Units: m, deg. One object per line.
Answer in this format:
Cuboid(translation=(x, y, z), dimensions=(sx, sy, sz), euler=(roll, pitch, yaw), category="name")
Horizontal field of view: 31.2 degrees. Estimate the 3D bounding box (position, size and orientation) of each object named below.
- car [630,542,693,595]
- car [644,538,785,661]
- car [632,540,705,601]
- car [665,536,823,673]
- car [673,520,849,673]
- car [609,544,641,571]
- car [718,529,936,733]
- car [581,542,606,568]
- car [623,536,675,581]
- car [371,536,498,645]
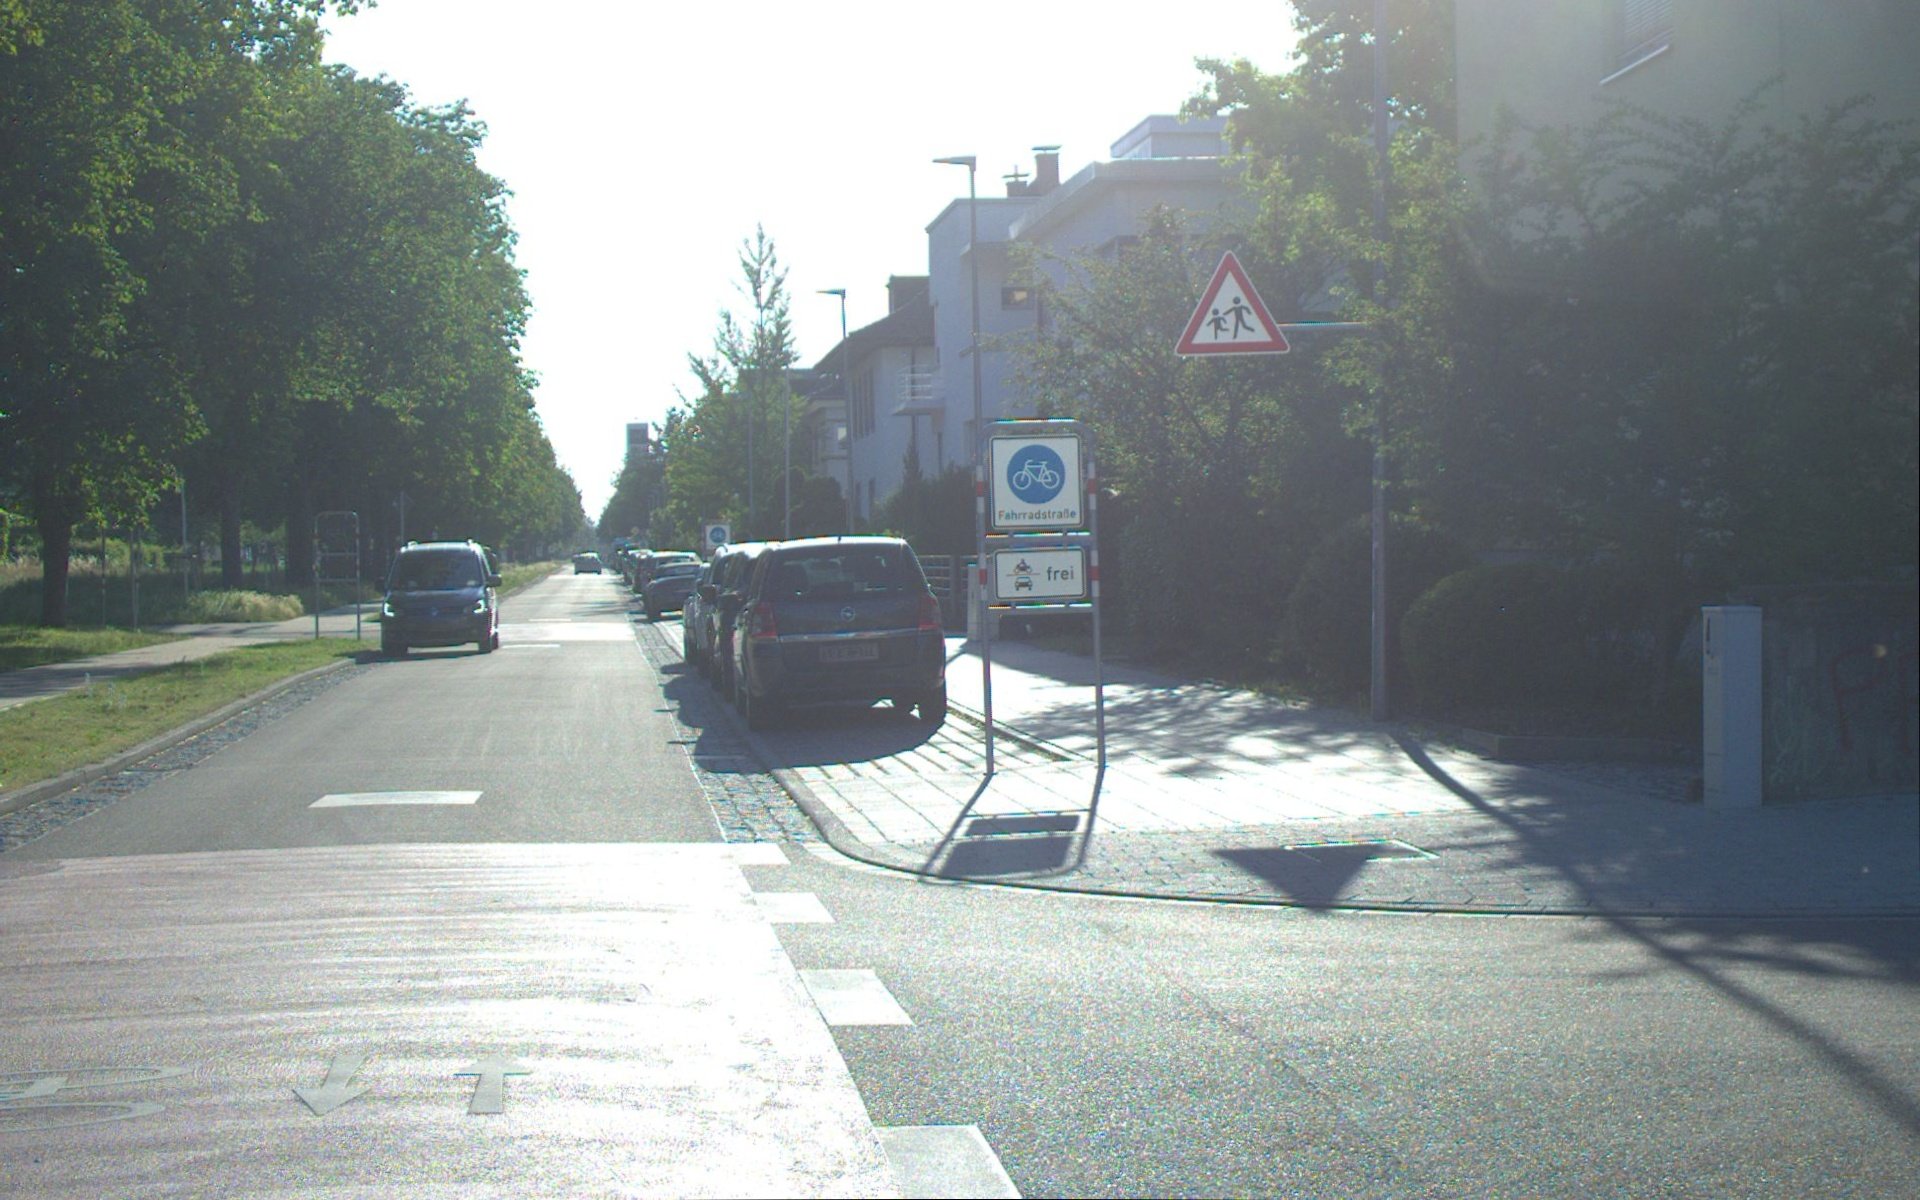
Cuboid(translation=(-8.314, -0.888, 95.559), dimensions=(1.626, 1.405, 4.250), euler=(-2, 1, -6), category="car")
Cuboid(translation=(-3.670, -0.040, 51.922), dimensions=(1.993, 1.711, 4.001), euler=(-2, 1, -3), category="car")
Cuboid(translation=(-7.154, -0.728, 84.175), dimensions=(1.626, 1.405, 4.250), euler=(-2, 1, -6), category="car")
Cuboid(translation=(-2.913, 0.025, 46.728), dimensions=(1.993, 1.711, 4.001), euler=(-2, 1, -3), category="car")
Cuboid(translation=(-2.420, -0.073, 41.986), dimensions=(1.993, 1.711, 4.001), euler=(-2, 1, -3), category="car")
Cuboid(translation=(-17.894, -2.274, 183.685), dimensions=(1.626, 1.405, 4.250), euler=(-2, 1, -6), category="car")
Cuboid(translation=(-1.263, 0.230, 30.966), dimensions=(1.626, 1.663, 4.250), euler=(-2, 1, -6), category="car")
Cuboid(translation=(-24.797, -3.044, 232.521), dimensions=(1.626, 1.663, 4.250), euler=(-2, 1, -6), category="car")
Cuboid(translation=(-10.447, -1.399, 115.303), dimensions=(1.626, 1.405, 4.250), euler=(-2, 1, -6), category="car")
Cuboid(translation=(-8.580, -0.185, 56.442), dimensions=(1.825, 1.663, 4.250), euler=(-2, 1, -6), category="car")
